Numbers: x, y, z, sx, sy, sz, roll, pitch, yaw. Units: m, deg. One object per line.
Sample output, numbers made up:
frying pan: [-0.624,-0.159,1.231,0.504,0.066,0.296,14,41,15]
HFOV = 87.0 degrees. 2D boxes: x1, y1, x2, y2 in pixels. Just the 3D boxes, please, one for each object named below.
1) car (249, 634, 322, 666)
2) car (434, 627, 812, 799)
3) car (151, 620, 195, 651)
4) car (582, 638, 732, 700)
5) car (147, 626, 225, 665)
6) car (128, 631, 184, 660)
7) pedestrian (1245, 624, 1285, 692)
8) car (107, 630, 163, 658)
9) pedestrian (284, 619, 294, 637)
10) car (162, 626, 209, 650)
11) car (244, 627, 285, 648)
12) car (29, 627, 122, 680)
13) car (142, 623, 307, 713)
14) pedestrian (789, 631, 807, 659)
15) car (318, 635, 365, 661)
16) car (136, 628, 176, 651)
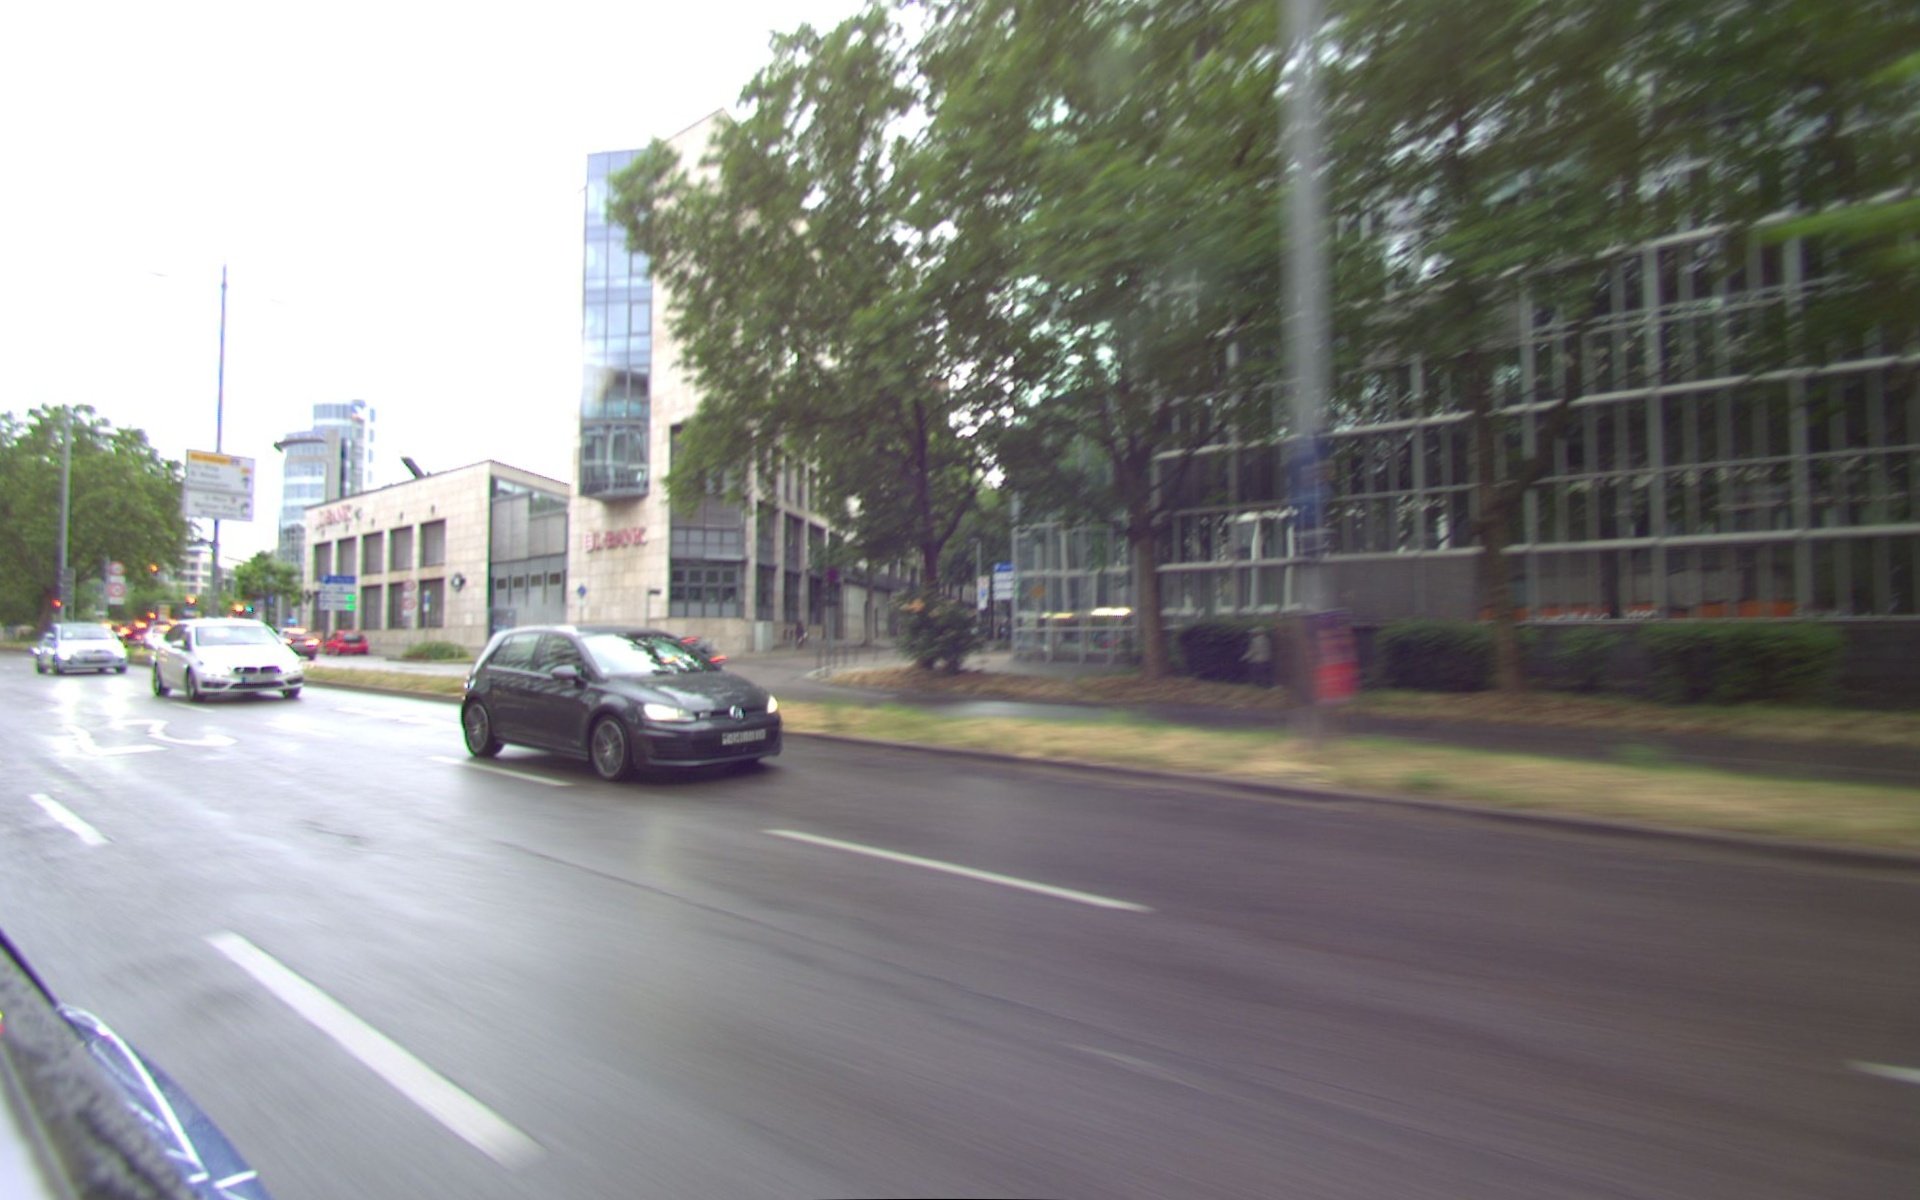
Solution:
car: [-32.489,2.387,48.696,4.756,1.449,1.673,-1,-3,41]
car: [-3.633,1.041,10.607,4.116,1.463,1.767,-2,-3,38]
car: [-54.549,2.440,70.117,1.809,2.017,5.107,3,-3,-44]
car: [-7.857,1.759,26.127,4.076,1.475,1.645,-1,-5,39]
car: [-35.065,2.031,45.824,4.678,1.693,1.854,-1,-3,41]
car: [-41.057,2.297,51.655,4.116,1.370,1.579,-1,-3,43]
pedestrian: [8.362,1.584,27.716,0.802,1.821,0.727,-3,-3,41]
car: [-46.526,2.459,57.035,4.580,1.448,1.682,-1,-3,41]
pedestrian: [-72.135,3.042,108.819,1.125,1.939,0.582,-2,-2,41]
car: [-49.794,2.429,65.021,4.397,1.443,1.707,-1,-3,44]
car: [-50.677,2.738,73.719,1.727,1.426,4.297,3,-3,-44]
car: [-26.539,1.555,30.334,3.491,1.452,1.592,-2,0,40]
car: [-14.792,1.289,20.291,3.997,1.608,1.758,-1,-3,40]
pedestrian: [-9.527,2.649,59.528,0.815,1.582,0.664,-2,-3,19]
car: [-36.378,2.814,59.527,1.574,1.426,3.403,3,-3,-45]
car: [-59.615,2.896,75.041,4.094,1.652,1.810,-1,-3,45]
